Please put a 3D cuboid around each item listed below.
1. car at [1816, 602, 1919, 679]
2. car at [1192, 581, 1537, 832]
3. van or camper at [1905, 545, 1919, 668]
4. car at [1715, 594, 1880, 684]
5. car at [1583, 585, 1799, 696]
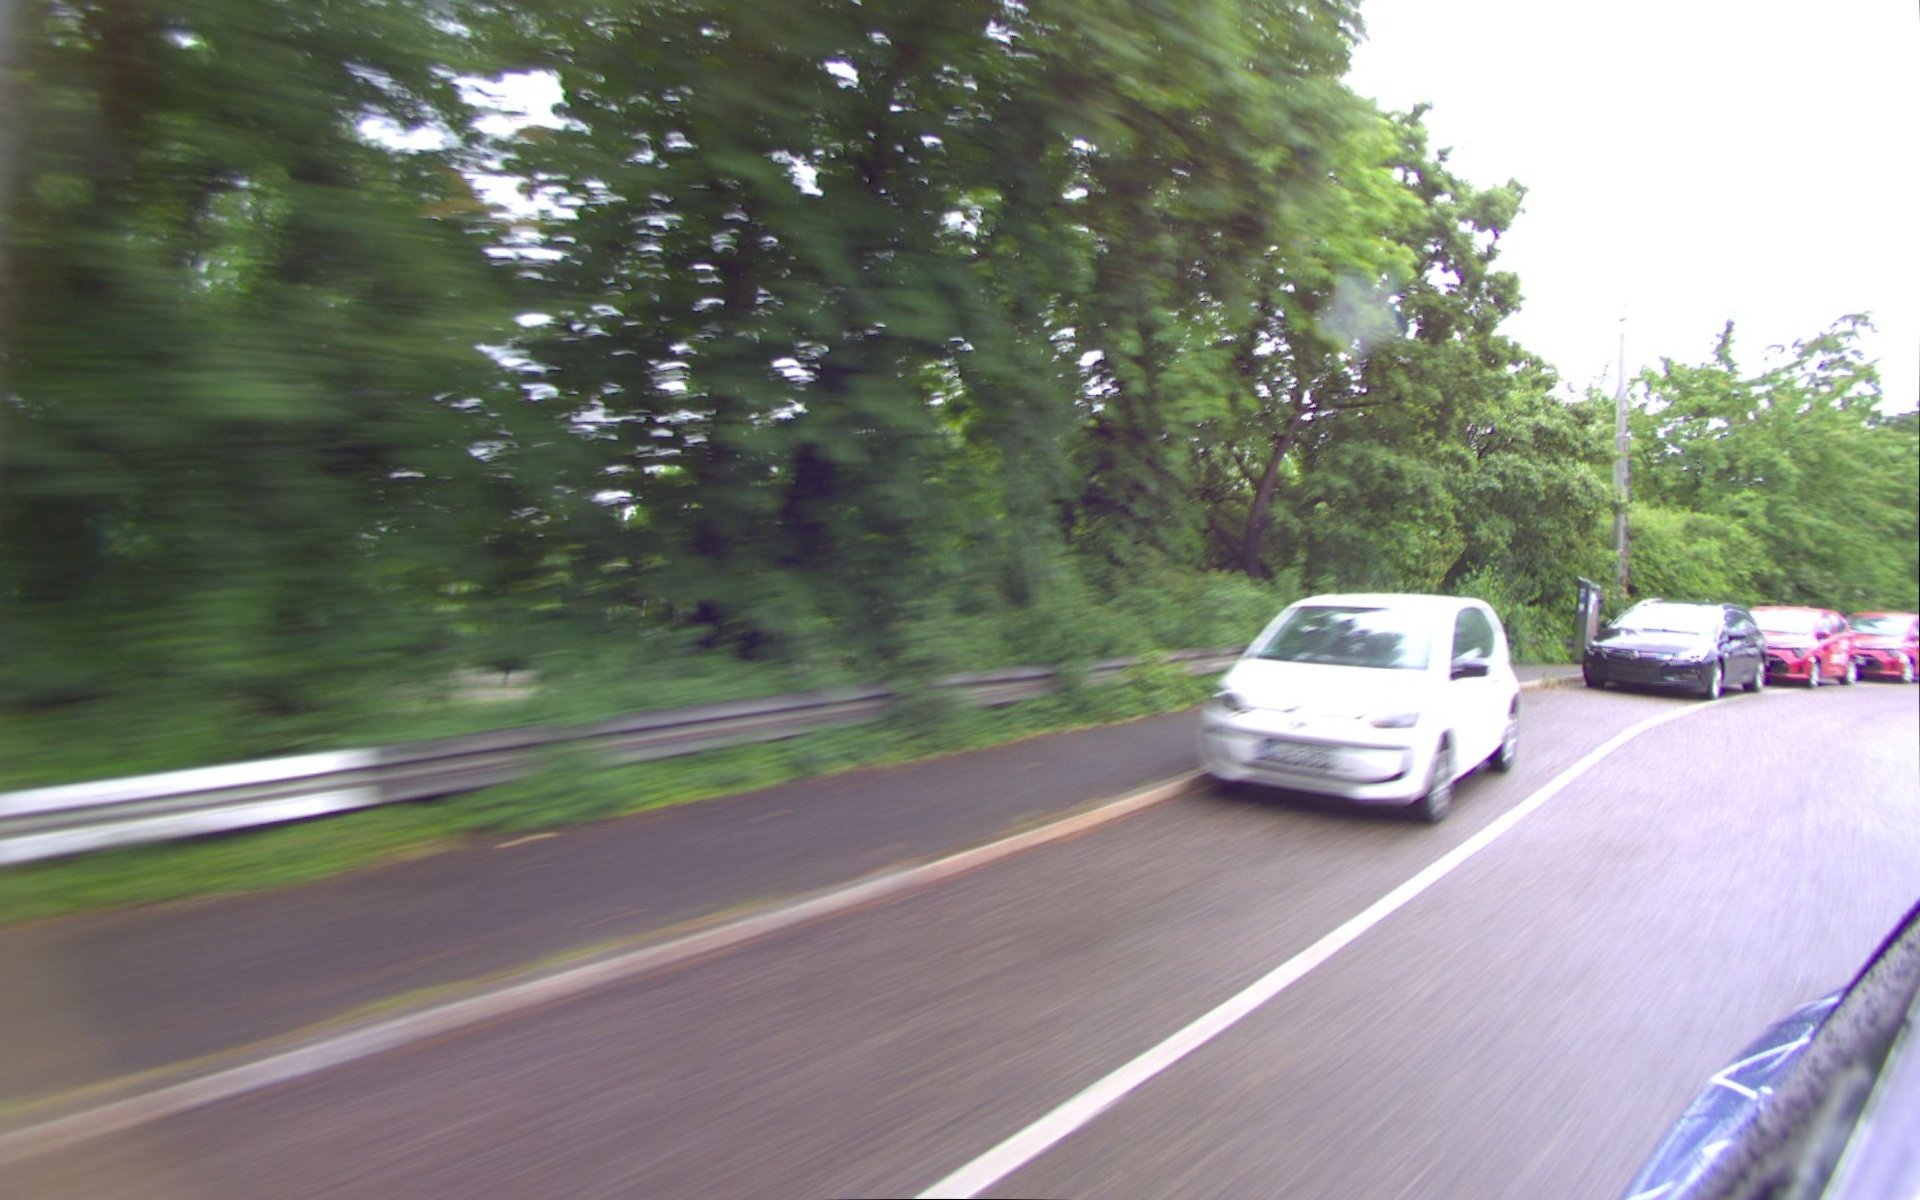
[{"bbox_3d":[20.688,0.859,22.267,3.730,1.478,1.648,1,2,-31],"label":"car"},{"bbox_3d":[3.368,0.624,8.040,1.582,1.520,3.616,1,1,39],"label":"car"},{"bbox_3d":[26.346,0.284,24.048,6.150,2.980,2.402,2,2,-11],"label":"van or camper"},{"bbox_3d":[16.323,0.740,19.681,3.606,1.532,1.564,2,1,-36],"label":"car"},{"bbox_3d":[12.075,0.612,16.611,4.512,1.532,1.722,1,2,-39],"label":"car"}]
